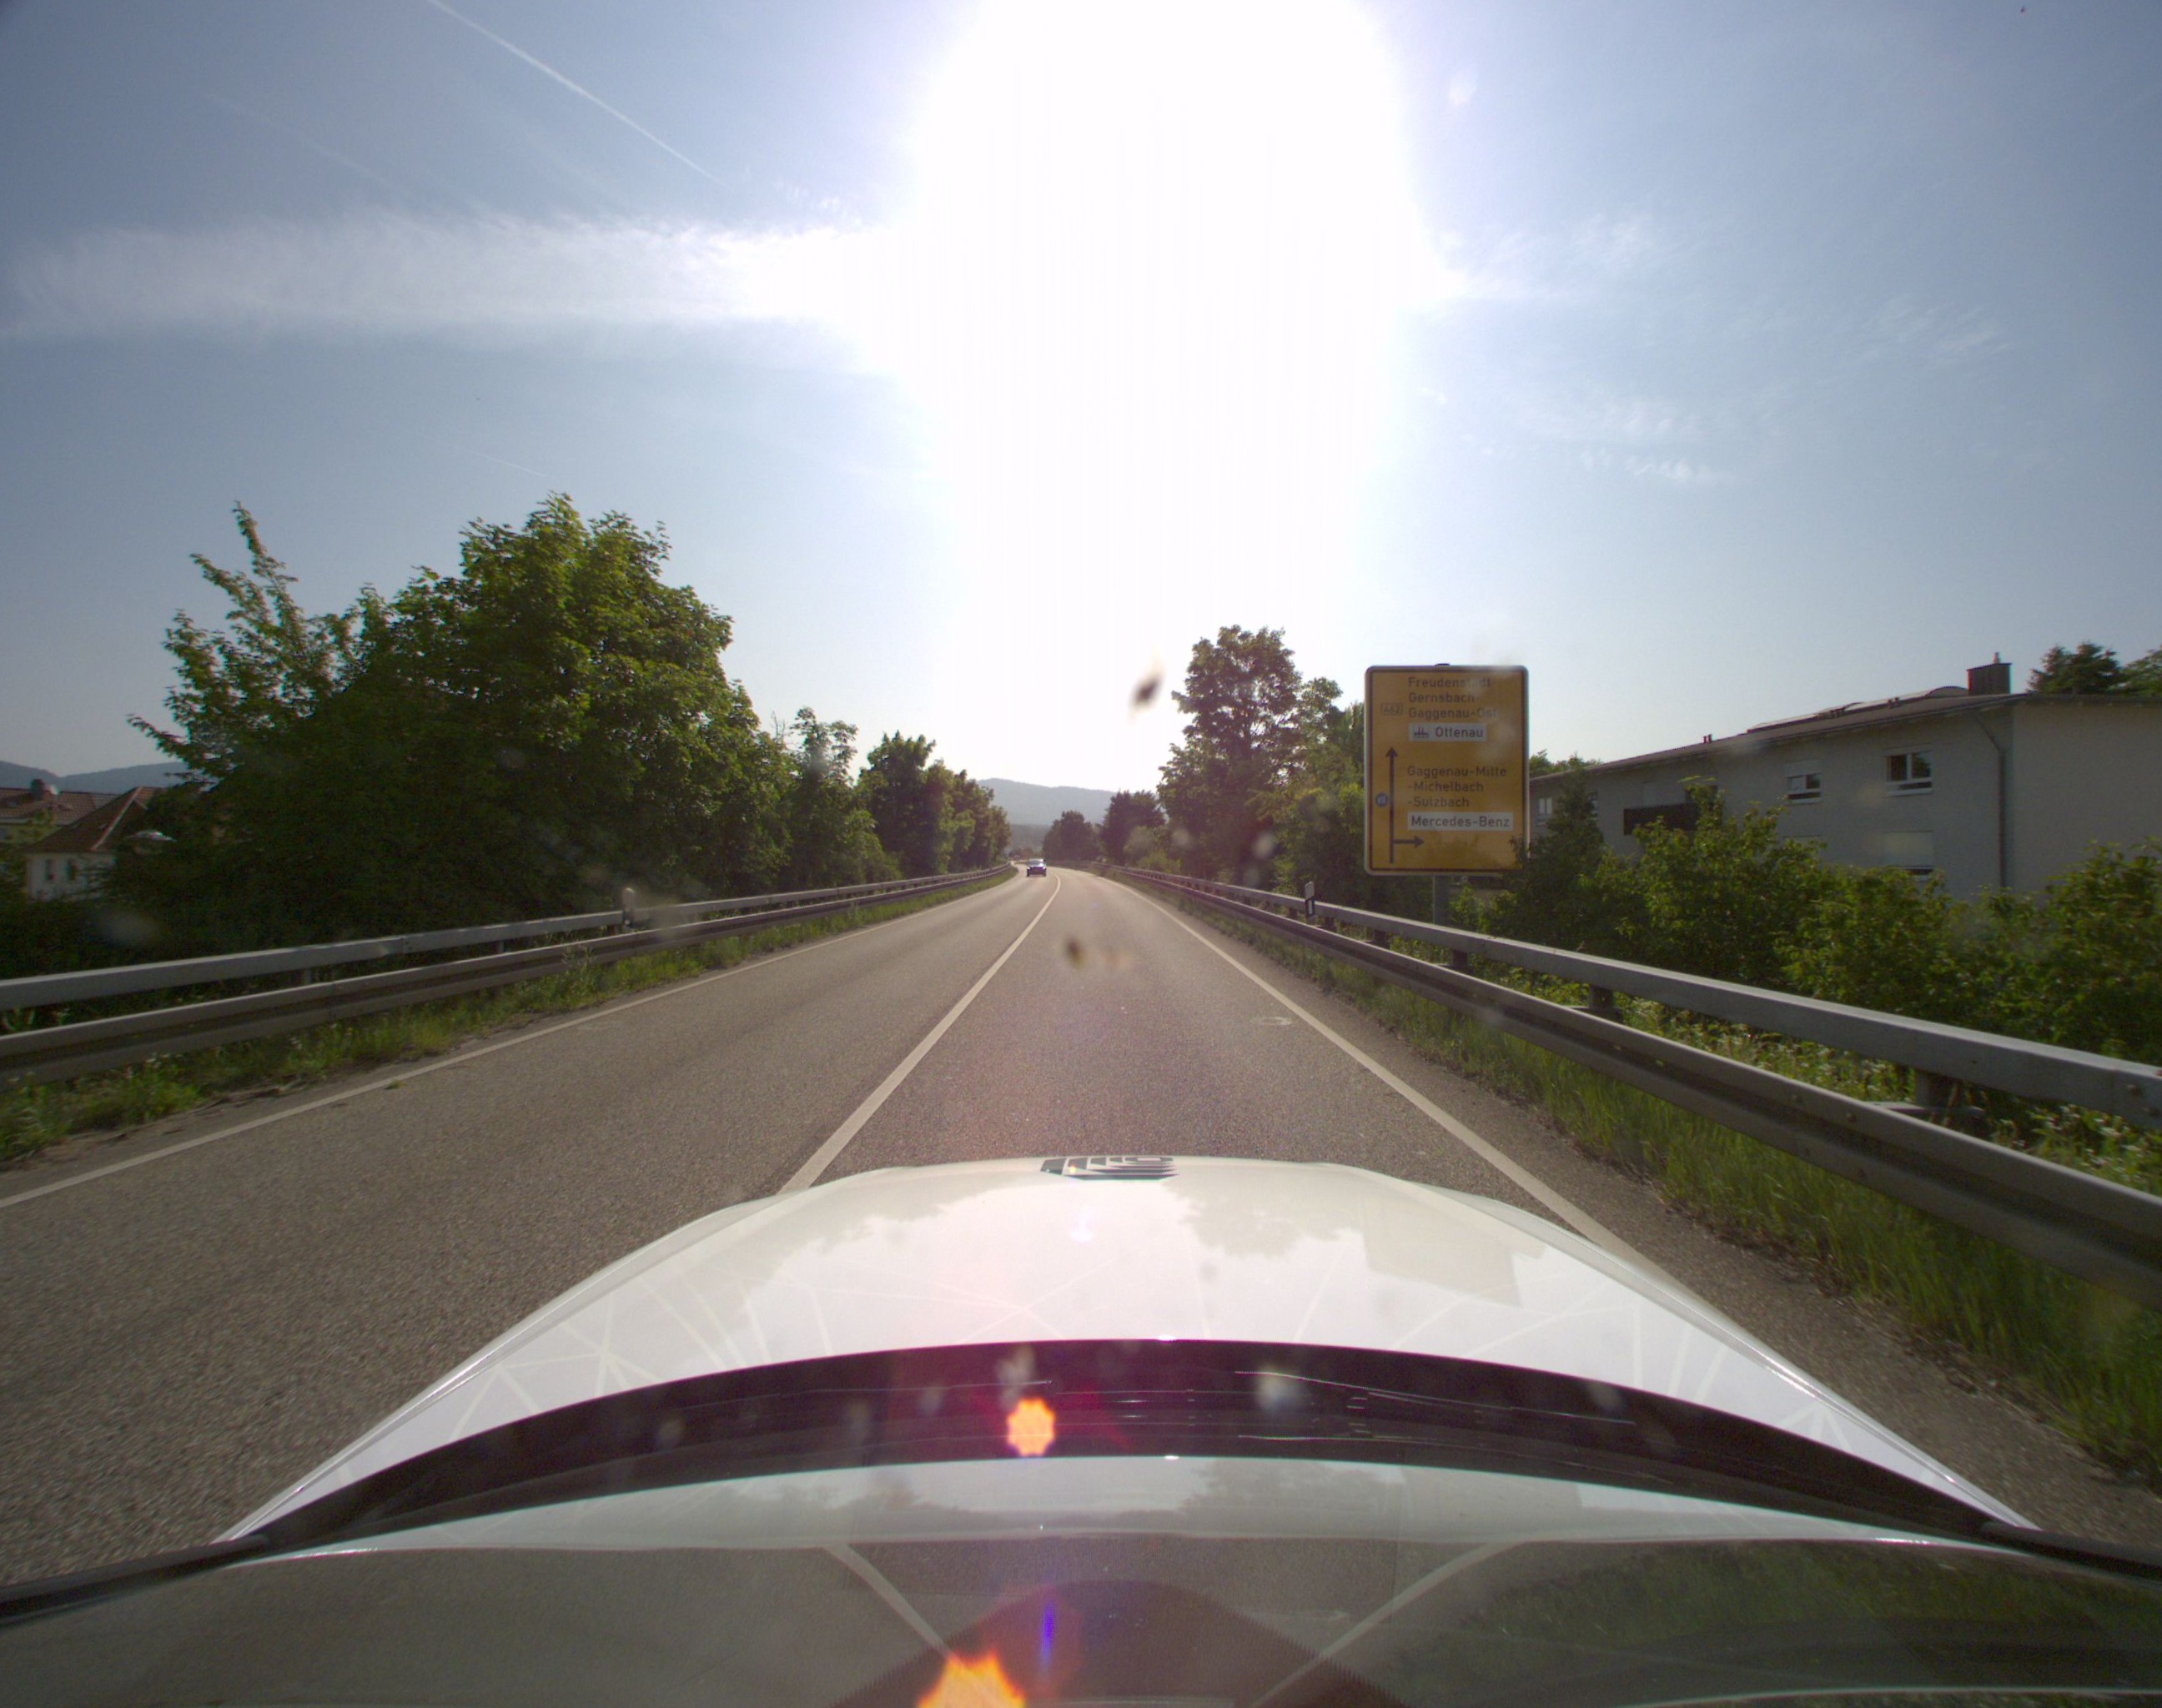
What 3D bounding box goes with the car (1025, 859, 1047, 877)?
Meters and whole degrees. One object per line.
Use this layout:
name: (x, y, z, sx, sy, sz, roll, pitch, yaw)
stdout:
car: (-4.124, 1.258, 74.724, 1.802, 1.561, 3.990, -2, 0, -1)
